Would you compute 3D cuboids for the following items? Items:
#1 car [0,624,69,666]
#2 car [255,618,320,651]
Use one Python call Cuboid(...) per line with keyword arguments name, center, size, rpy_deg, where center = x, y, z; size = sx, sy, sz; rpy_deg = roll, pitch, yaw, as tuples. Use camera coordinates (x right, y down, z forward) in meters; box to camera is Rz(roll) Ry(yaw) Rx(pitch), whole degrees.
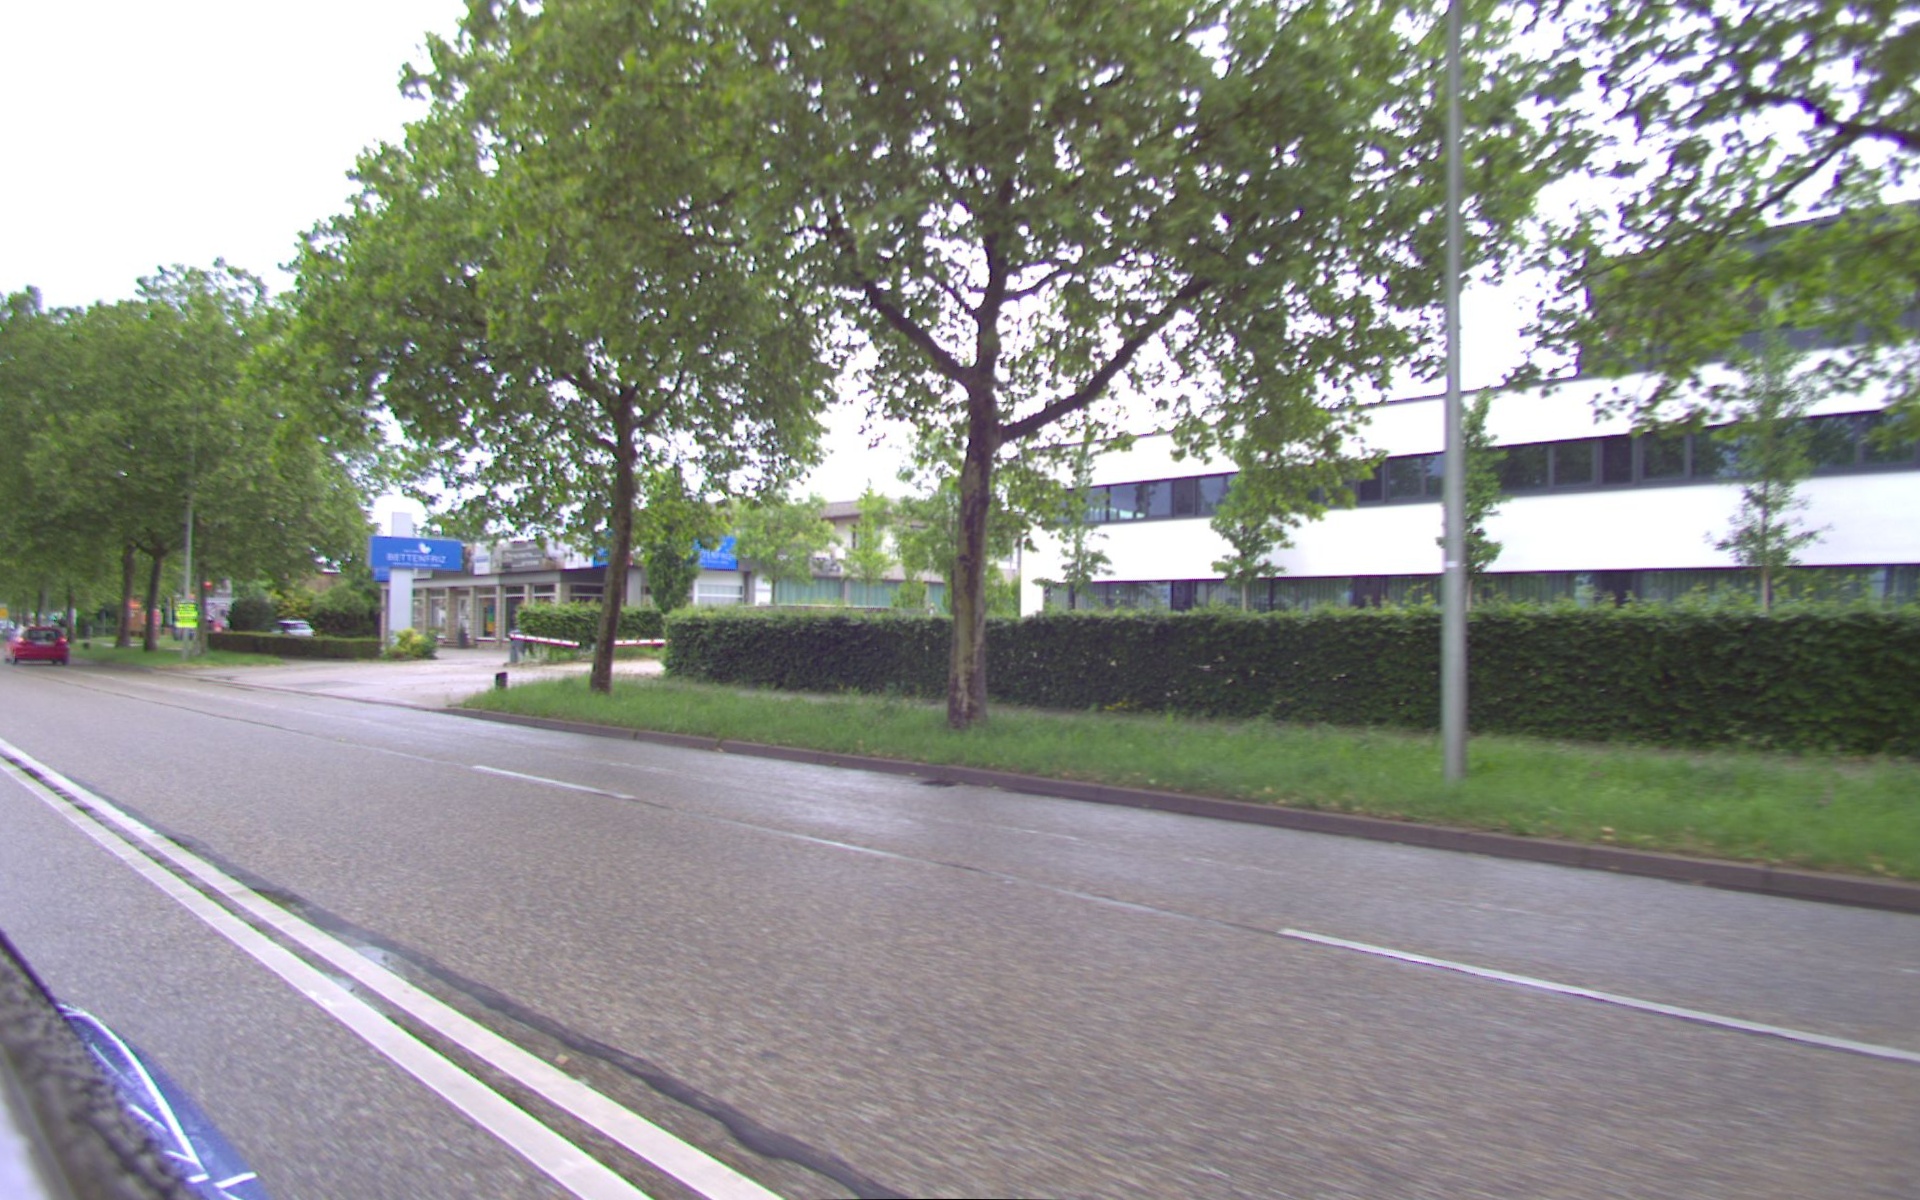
Cuboid(name="car", center=(-36.742, 1.757, 40.066), size=(4.000, 1.545, 1.723), rpy_deg=(-1, -4, 43))
Cuboid(name="car", center=(-34.308, 1.751, 51.577), size=(3.999, 1.545, 1.723), rpy_deg=(-1, -4, 42))
